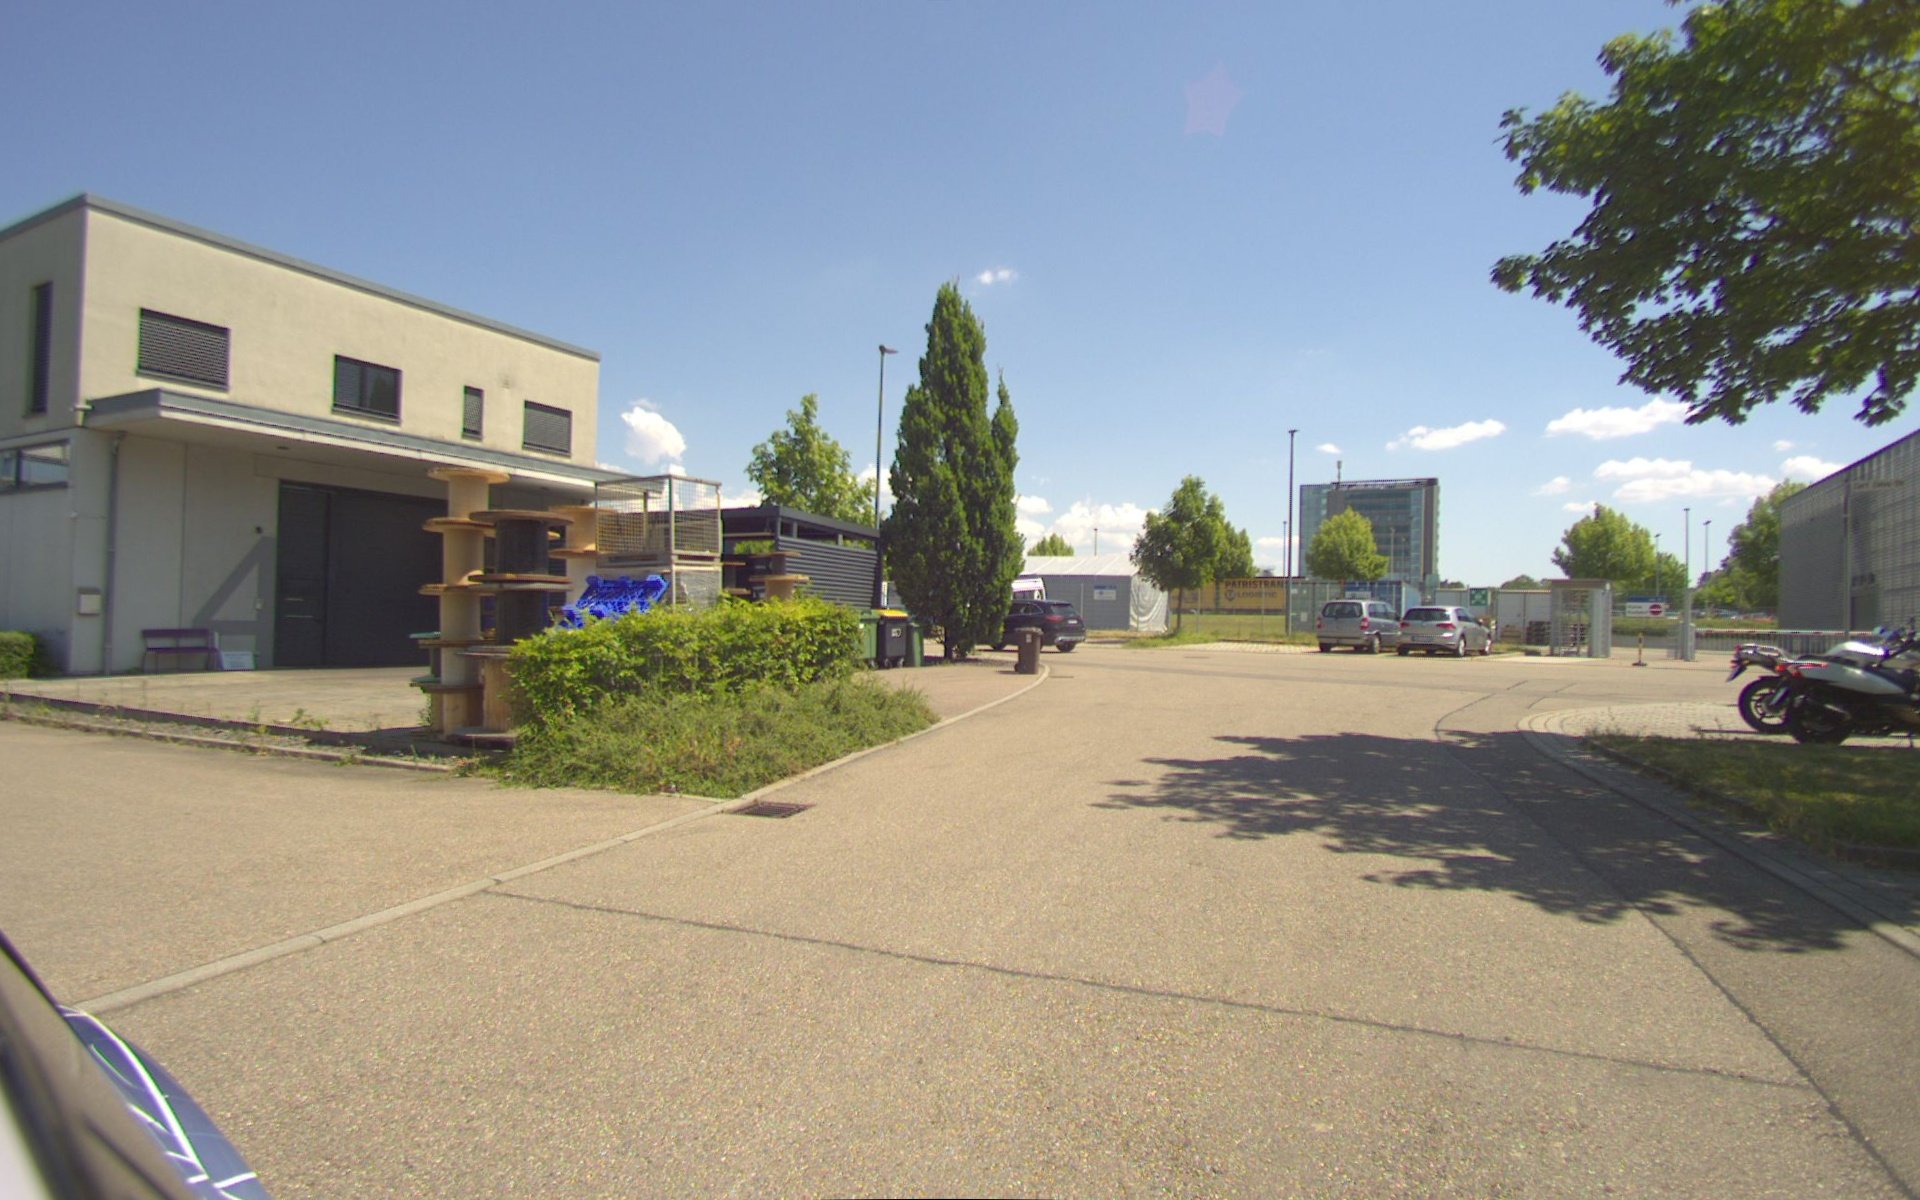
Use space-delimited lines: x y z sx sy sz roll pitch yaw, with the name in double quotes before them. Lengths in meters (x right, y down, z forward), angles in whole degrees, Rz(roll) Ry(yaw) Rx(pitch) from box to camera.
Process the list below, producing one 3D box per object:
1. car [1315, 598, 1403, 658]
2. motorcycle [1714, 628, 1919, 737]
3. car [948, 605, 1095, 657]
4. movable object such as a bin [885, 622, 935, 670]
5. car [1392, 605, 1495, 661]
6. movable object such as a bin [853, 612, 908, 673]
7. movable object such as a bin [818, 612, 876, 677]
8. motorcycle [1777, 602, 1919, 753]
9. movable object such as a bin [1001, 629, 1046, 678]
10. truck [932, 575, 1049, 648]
"car" 12.441 0.820 31.415 1.768 1.751 3.954 0 -1 34
"motorcycle" 9.444 0.872 10.960 1.975 1.117 0.481 0 -1 21
"car" 1.910 0.939 31.844 4.250 1.525 1.936 0 -1 35
"movable object such as a bin" -1.178 1.075 23.963 0.758 1.092 0.977 0 -1 33
"car" 14.199 0.925 29.628 1.653 1.533 3.944 0 -1 42
"movable object such as a bin" -1.799 0.952 23.062 0.758 1.346 1.061 0 -1 33
"movable object such as a bin" -2.432 0.937 21.881 0.758 1.346 1.061 0 -1 33
"motorcycle" 9.065 0.718 9.595 1.975 1.400 0.481 0 -1 21
"movable object such as a bin" 1.310 1.088 20.899 0.758 0.977 0.583 0 -1 34
"truck" 1.330 0.440 40.313 2.408 2.692 5.642 0 -1 29
